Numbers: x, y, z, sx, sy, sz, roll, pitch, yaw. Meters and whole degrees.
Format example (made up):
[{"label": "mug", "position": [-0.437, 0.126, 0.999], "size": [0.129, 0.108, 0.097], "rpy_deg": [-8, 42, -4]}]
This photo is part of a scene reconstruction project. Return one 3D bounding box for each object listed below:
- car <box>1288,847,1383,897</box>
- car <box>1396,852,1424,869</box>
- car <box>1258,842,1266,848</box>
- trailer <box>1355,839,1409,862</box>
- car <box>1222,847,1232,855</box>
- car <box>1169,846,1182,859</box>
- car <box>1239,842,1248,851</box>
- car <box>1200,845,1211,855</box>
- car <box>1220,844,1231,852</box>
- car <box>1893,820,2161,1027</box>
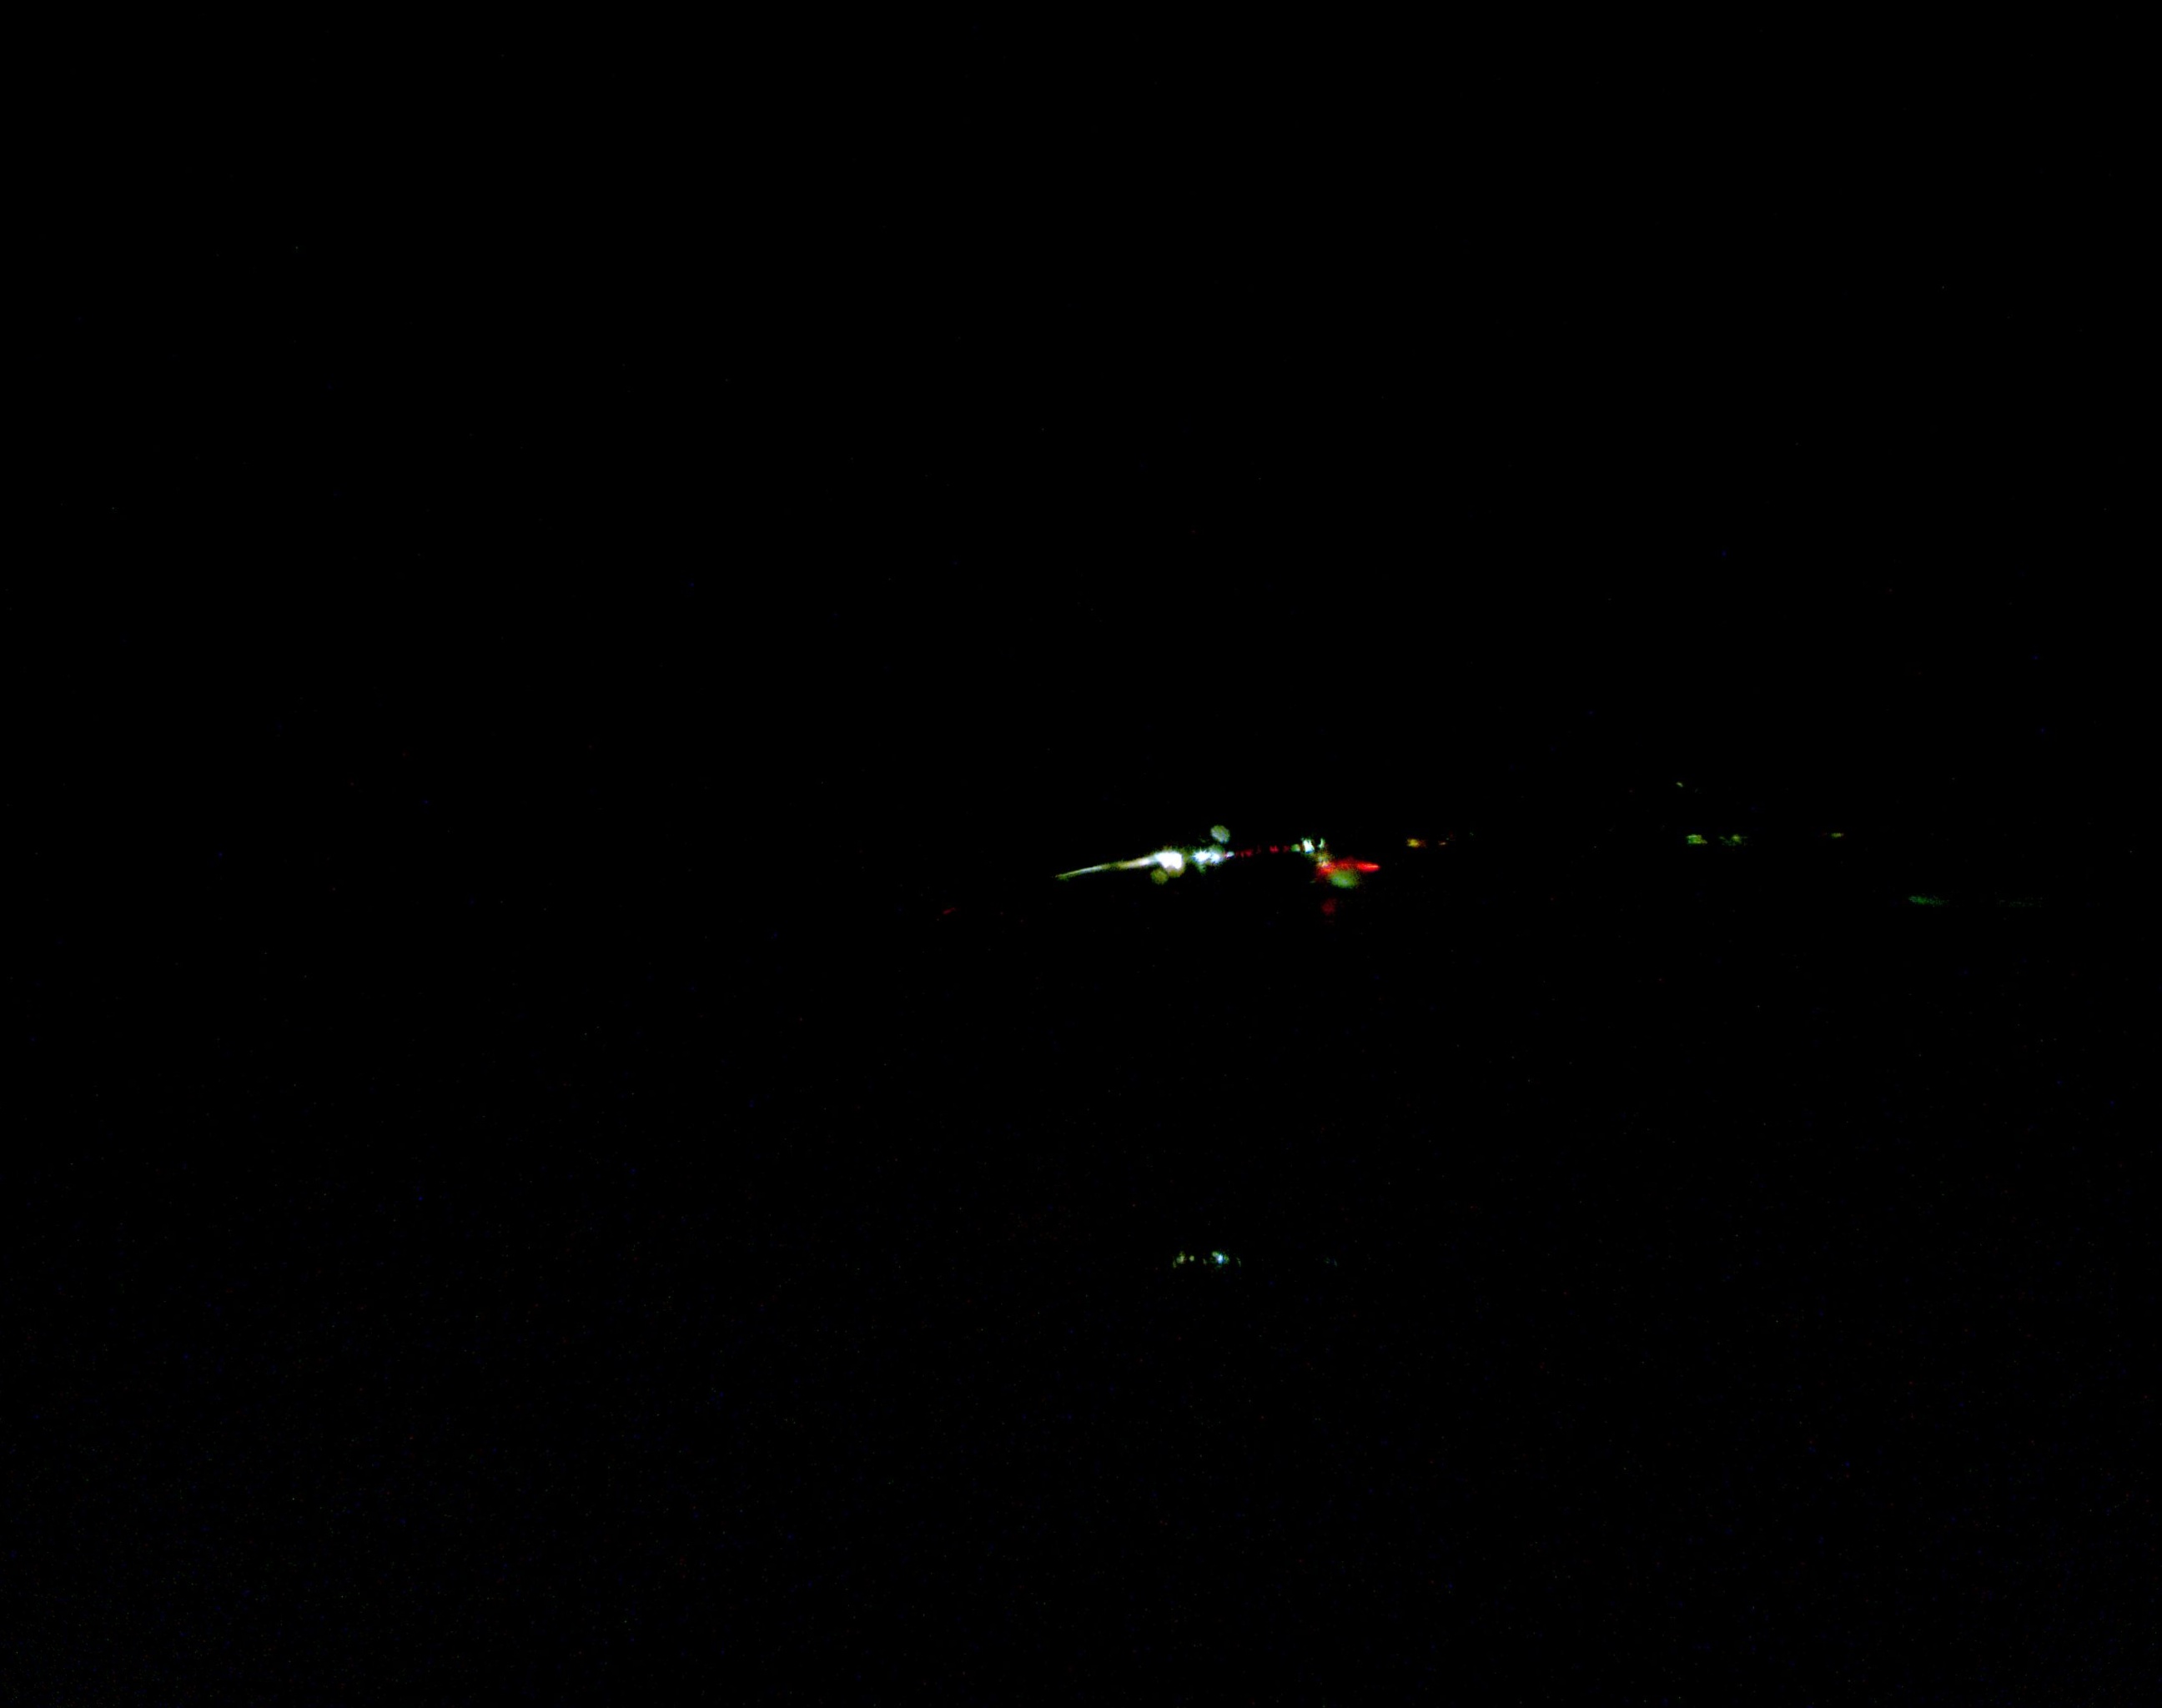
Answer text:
[{"label": "car", "position": [9.062, 0.583, 27.391], "size": [1.886, 1.591, 3.898], "rpy_deg": [-3, 1, -3]}, {"label": "car", "position": [41.232, 0.829, 95.245], "size": [1.998, 2.002, 4.001], "rpy_deg": [-3, 1, 5]}, {"label": "car", "position": [55.083, -2.623, 230.708], "size": [1.689, 1.671, 3.472], "rpy_deg": [-2, 1, 23]}, {"label": "trailer", "position": [72.446, -0.834, 183.187], "size": [11.545, 4.768, 3.338], "rpy_deg": [-3, 1, 1]}, {"label": "car", "position": [39.042, -0.713, 202.593], "size": [1.996, 2.002, 4.005], "rpy_deg": [-2, 1, 19]}, {"label": "car", "position": [15.206, -0.270, 122.500], "size": [1.997, 2.002, 4.001], "rpy_deg": [-3, 1, 6]}, {"label": "car", "position": [42.698, -1.949, 199.508], "size": [1.996, 2.063, 4.005], "rpy_deg": [-2, 1, 18]}, {"label": "car", "position": [28.092, -0.872, 171.428], "size": [1.996, 2.002, 4.004], "rpy_deg": [-2, 1, 15]}, {"label": "car", "position": [33.262, -1.357, 174.900], "size": [1.996, 1.604, 4.617], "rpy_deg": [-2, 1, 16]}, {"label": "car", "position": [10.313, 0.567, 6.290], "size": [2.204, 1.735, 4.523], "rpy_deg": [-3, 1, -3]}]
